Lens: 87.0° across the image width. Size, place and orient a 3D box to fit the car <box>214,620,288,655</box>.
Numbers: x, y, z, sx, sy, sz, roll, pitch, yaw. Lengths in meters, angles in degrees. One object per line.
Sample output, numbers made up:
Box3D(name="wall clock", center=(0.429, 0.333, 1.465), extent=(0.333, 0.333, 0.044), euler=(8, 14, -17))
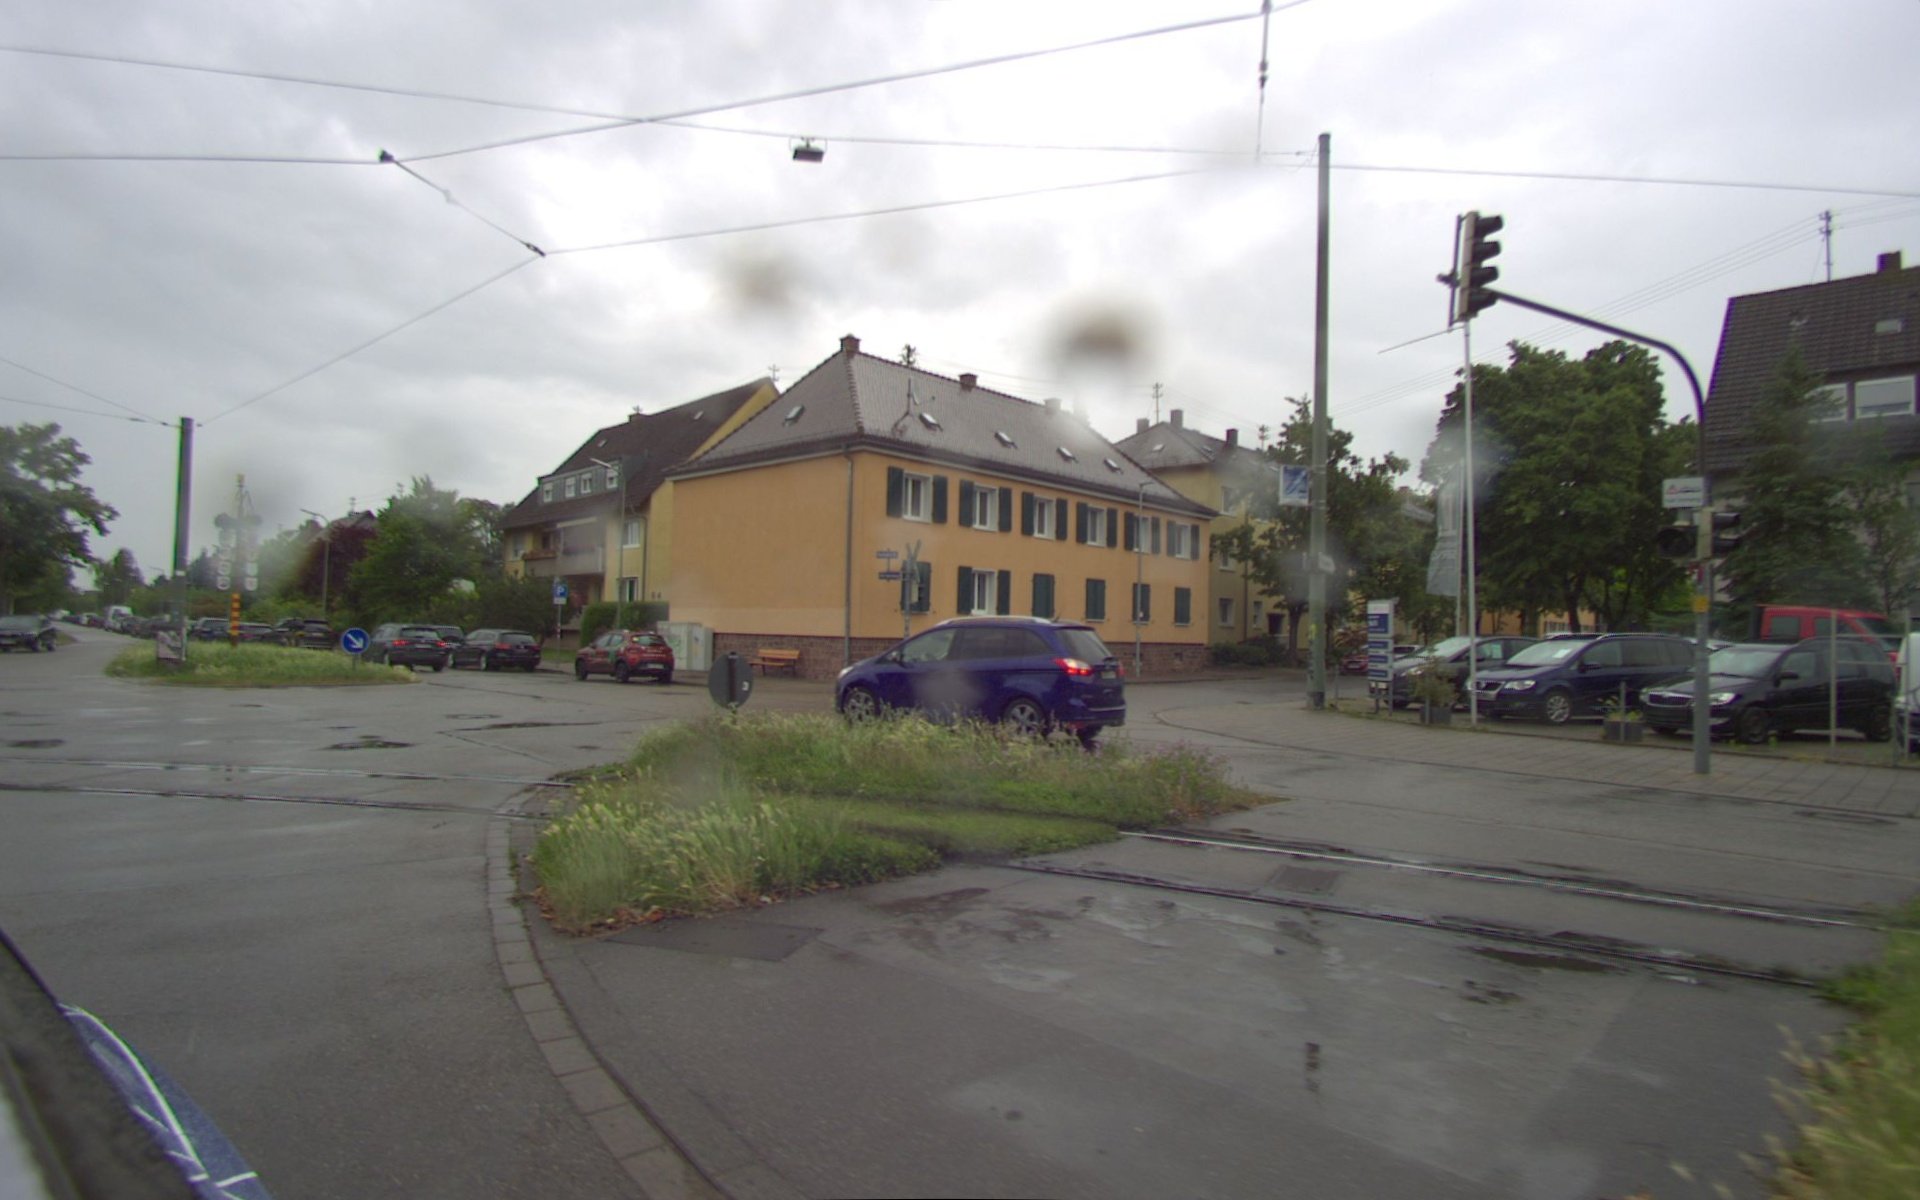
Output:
Box3D(name="car", center=(-36.612, 1.922, 52.214), extent=(4.121, 1.586, 1.974), euler=(2, -1, 38))

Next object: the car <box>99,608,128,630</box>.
Box3D(name="car", center=(-86.128, 1.933, 102.917), extent=(1.970, 2.049, 4.004), euler=(3, -1, -44))

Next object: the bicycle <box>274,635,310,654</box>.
Box3D(name="bicycle", center=(-29.530, 1.974, 44.732), extent=(1.820, 0.792, 0.929), euler=(-2, -4, 44))

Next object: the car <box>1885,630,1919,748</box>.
Box3D(name="car", center=(18.564, 1.565, 16.876), extent=(1.969, 2.029, 4.453), euler=(4, -4, -42))

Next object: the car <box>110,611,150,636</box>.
Box3D(name="car", center=(-65.910, 1.868, 80.378), extent=(4.002, 1.807, 1.971), euler=(2, -1, 44))

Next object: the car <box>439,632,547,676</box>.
Box3D(name="car", center=(-16.660, 1.885, 35.991), extent=(4.507, 1.407, 1.939), euler=(-1, -3, 44))

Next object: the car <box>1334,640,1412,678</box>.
Box3D(name="car", center=(18.869, 2.700, 46.150), extent=(2.000, 1.630, 3.943), euler=(-1, -4, 43))

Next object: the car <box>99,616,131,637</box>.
Box3D(name="car", center=(-81.531, 2.519, 97.630), extent=(4.002, 1.807, 1.971), euler=(2, -1, 44))

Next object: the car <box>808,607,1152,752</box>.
Box3D(name="car", center=(0.203, 1.011, 14.455), extent=(4.562, 1.617, 1.976), euler=(2, -1, 35))

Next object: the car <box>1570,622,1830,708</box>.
Box3D(name="car", center=(15.506, 1.348, 21.469), extent=(1.965, 1.610, 3.992), euler=(3, -3, -24))

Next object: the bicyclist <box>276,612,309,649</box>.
Box3D(name="bicyclist", center=(-29.534, 1.359, 44.776), extent=(1.042, 1.610, 0.936), euler=(-2, -4, 44))

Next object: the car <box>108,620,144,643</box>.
Box3D(name="car", center=(-74.089, 2.821, 89.906), extent=(4.002, 1.807, 1.971), euler=(2, -1, 44))

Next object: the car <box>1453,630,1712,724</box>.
Box3D(name="car", center=(11.346, 1.399, 18.564), extent=(3.808, 1.591, 1.812), euler=(1, -3, -12))

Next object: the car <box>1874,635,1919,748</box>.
Box3D(name="car", center=(15.022, 1.344, 13.869), extent=(3.989, 1.515, 1.839), euler=(3, -1, -16))

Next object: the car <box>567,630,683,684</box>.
Box3D(name="car", center=(-9.909, 1.650, 29.841), extent=(3.618, 1.349, 1.698), euler=(2, -1, 43))

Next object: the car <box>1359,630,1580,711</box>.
Box3D(name="car", center=(10.621, 1.470, 21.215), extent=(3.808, 1.591, 1.812), euler=(1, -3, -12))

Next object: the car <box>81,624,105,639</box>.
Box3D(name="car", center=(-114.231, 4.135, 133.318), extent=(4.002, 1.807, 1.971), euler=(2, -1, 44))

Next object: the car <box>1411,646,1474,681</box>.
Box3D(name="car", center=(26.021, 3.415, 54.510), extent=(2.000, 1.763, 3.943), euler=(-1, -4, 43))

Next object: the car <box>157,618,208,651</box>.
Box3D(name="car", center=(-49.159, 2.168, 63.952), extent=(4.002, 1.807, 1.971), euler=(2, -1, 44))

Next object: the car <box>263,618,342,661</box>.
Box3D(name="car", center=(-31.705, 1.879, 48.780), extent=(3.996, 1.807, 1.974), euler=(2, -1, 39))

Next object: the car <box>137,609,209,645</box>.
Box3D(name="car", center=(-34.959, 1.200, 44.900), extent=(4.002, 1.487, 1.971), euler=(-1, -3, 45))

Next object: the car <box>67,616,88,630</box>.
Box3D(name="car", center=(-131.547, 3.386, 150.792), extent=(4.002, 1.807, 1.971), euler=(2, -1, 44))

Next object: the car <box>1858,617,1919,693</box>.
Box3D(name="car", center=(22.925, 1.266, 22.334), extent=(1.969, 1.700, 4.453), euler=(4, -4, -42))

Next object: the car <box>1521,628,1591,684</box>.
Box3D(name="car", center=(30.309, 2.830, 51.438), extent=(2.160, 2.592, 4.074), euler=(2, -1, 43))

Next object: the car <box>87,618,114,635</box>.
Box3D(name="car", center=(-101.630, 3.096, 119.643), extent=(4.002, 1.807, 1.971), euler=(2, -1, 44))

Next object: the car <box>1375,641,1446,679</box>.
Box3D(name="car", center=(22.043, 2.945, 49.471), extent=(2.000, 1.763, 3.943), euler=(-1, -4, 43))

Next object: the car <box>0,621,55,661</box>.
Box3D(name="car", center=(-40.287, 1.734, 43.280), extent=(1.760, 1.473, 4.011), euler=(3, -1, -34))

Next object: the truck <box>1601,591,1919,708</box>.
Box3D(name="truck", center=(18.242, 1.120, 22.990), extent=(1.965, 2.289, 6.122), euler=(3, -3, -24))

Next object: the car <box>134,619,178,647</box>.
Box3D(name="car", center=(-58.219, 2.346, 73.278), extent=(4.002, 1.807, 1.971), euler=(2, -1, 44))

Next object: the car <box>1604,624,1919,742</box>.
Box3D(name="car", center=(12.838, 1.313, 16.202), extent=(3.934, 1.730, 2.005), euler=(2, -3, -12))

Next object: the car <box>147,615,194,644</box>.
Box3D(name="car", center=(-54.315, 2.009, 69.592), extent=(4.002, 1.807, 1.971), euler=(2, -1, 44))

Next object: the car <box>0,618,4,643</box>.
Box3D(name="car", center=(-67.826, 2.017, 68.812), extent=(2.001, 1.695, 3.942), euler=(2, -1, 44))

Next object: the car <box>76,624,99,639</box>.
Box3D(name="car", center=(-117.765, 4.218, 136.639), extent=(4.002, 1.807, 1.971), euler=(2, -1, 44))

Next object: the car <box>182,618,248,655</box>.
Box3D(name="car", center=(-41.458, 2.033, 56.275), extent=(3.996, 1.807, 1.974), euler=(2, -1, 39))

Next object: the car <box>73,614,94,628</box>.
Box3D(name="car", center=(-126.816, 2.979, 146.429), extent=(4.002, 1.807, 1.971), euler=(2, -1, 44))

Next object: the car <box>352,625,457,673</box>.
Box3D(name="car", center=(-18.510, 1.604, 33.678), extent=(4.002, 1.487, 1.971), euler=(-1, -3, 45))
